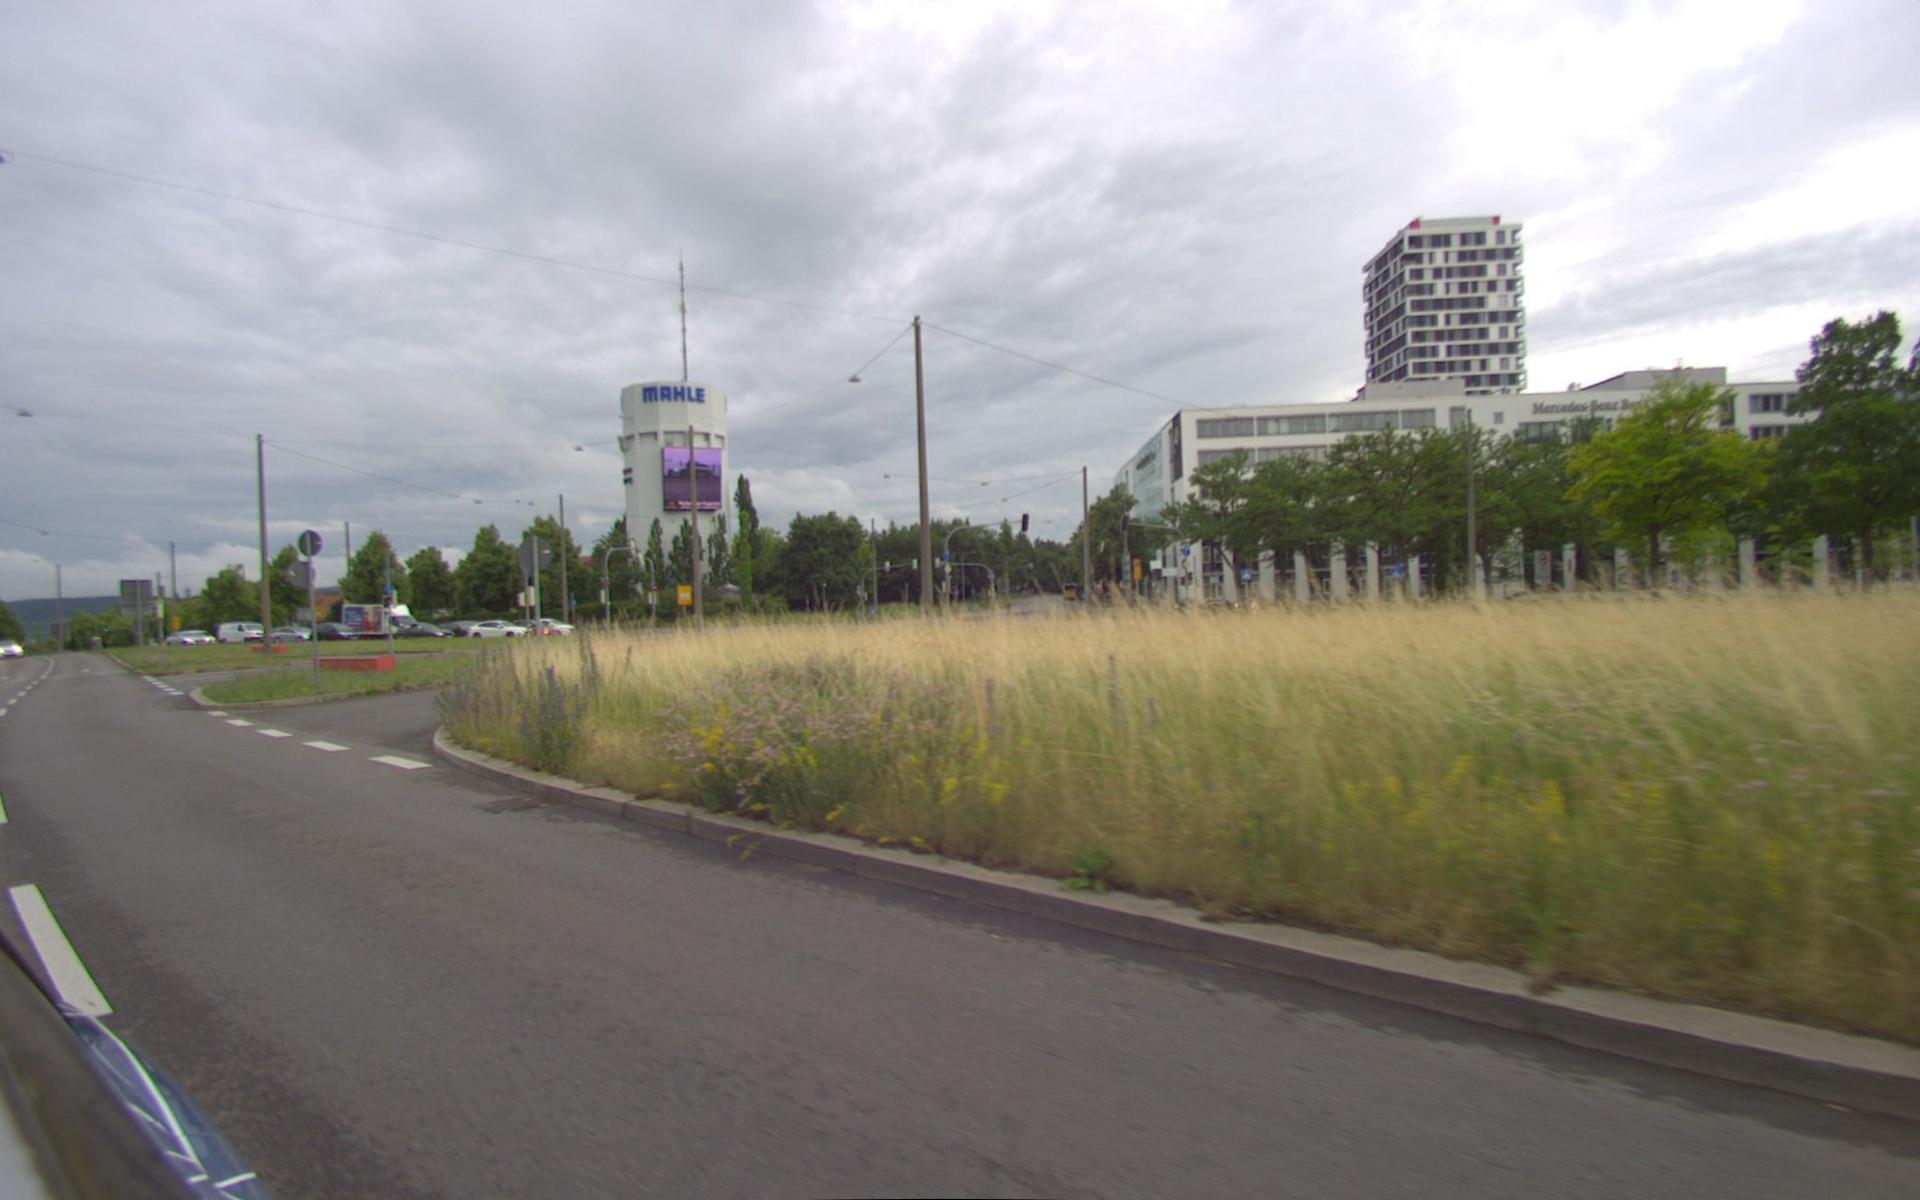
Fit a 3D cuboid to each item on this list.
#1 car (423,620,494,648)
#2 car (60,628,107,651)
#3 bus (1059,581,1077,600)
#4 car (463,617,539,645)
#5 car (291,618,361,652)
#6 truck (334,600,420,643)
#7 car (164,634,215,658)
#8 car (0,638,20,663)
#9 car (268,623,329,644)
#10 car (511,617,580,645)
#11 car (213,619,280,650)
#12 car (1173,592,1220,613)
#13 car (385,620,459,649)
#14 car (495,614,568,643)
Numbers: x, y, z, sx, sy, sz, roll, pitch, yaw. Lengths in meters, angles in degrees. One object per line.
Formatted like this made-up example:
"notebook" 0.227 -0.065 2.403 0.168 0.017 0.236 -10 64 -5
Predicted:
"car" -37.577 2.540 75.879 4.480 1.695 1.990 -4 2 16
"car" -81.893 3.706 94.541 5.156 1.814 1.978 -3 2 34
"bus" 21.622 -1.926 201.985 2.828 3.351 8.865 -4 2 9
"car" -32.204 2.160 71.033 4.474 1.695 1.993 -3 1 12
"car" -46.641 2.581 74.467 5.146 2.197 1.982 -3 2 28
"truck" -45.060 1.686 78.206 5.981 2.855 2.119 -4 2 18
"car" -68.077 4.061 89.415 5.156 1.814 1.978 -3 2 34
"car" -81.279 4.317 85.519 3.993 2.028 1.976 -3 2 37
"car" -53.320 2.706 81.595 4.505 1.320 1.984 -3 2 25
"car" -31.861 2.367 77.796 4.470 1.695 1.995 -4 2 9
"car" -59.857 2.876 84.885 5.283 2.197 2.353 -3 2 28
"car" 21.970 0.217 94.045 3.650 1.688 1.906 -5 2 -20
"car" -38.236 2.427 71.946 4.484 1.695 1.988 -4 2 19
"car" -31.655 2.114 74.824 4.469 1.695 1.995 -4 2 8
